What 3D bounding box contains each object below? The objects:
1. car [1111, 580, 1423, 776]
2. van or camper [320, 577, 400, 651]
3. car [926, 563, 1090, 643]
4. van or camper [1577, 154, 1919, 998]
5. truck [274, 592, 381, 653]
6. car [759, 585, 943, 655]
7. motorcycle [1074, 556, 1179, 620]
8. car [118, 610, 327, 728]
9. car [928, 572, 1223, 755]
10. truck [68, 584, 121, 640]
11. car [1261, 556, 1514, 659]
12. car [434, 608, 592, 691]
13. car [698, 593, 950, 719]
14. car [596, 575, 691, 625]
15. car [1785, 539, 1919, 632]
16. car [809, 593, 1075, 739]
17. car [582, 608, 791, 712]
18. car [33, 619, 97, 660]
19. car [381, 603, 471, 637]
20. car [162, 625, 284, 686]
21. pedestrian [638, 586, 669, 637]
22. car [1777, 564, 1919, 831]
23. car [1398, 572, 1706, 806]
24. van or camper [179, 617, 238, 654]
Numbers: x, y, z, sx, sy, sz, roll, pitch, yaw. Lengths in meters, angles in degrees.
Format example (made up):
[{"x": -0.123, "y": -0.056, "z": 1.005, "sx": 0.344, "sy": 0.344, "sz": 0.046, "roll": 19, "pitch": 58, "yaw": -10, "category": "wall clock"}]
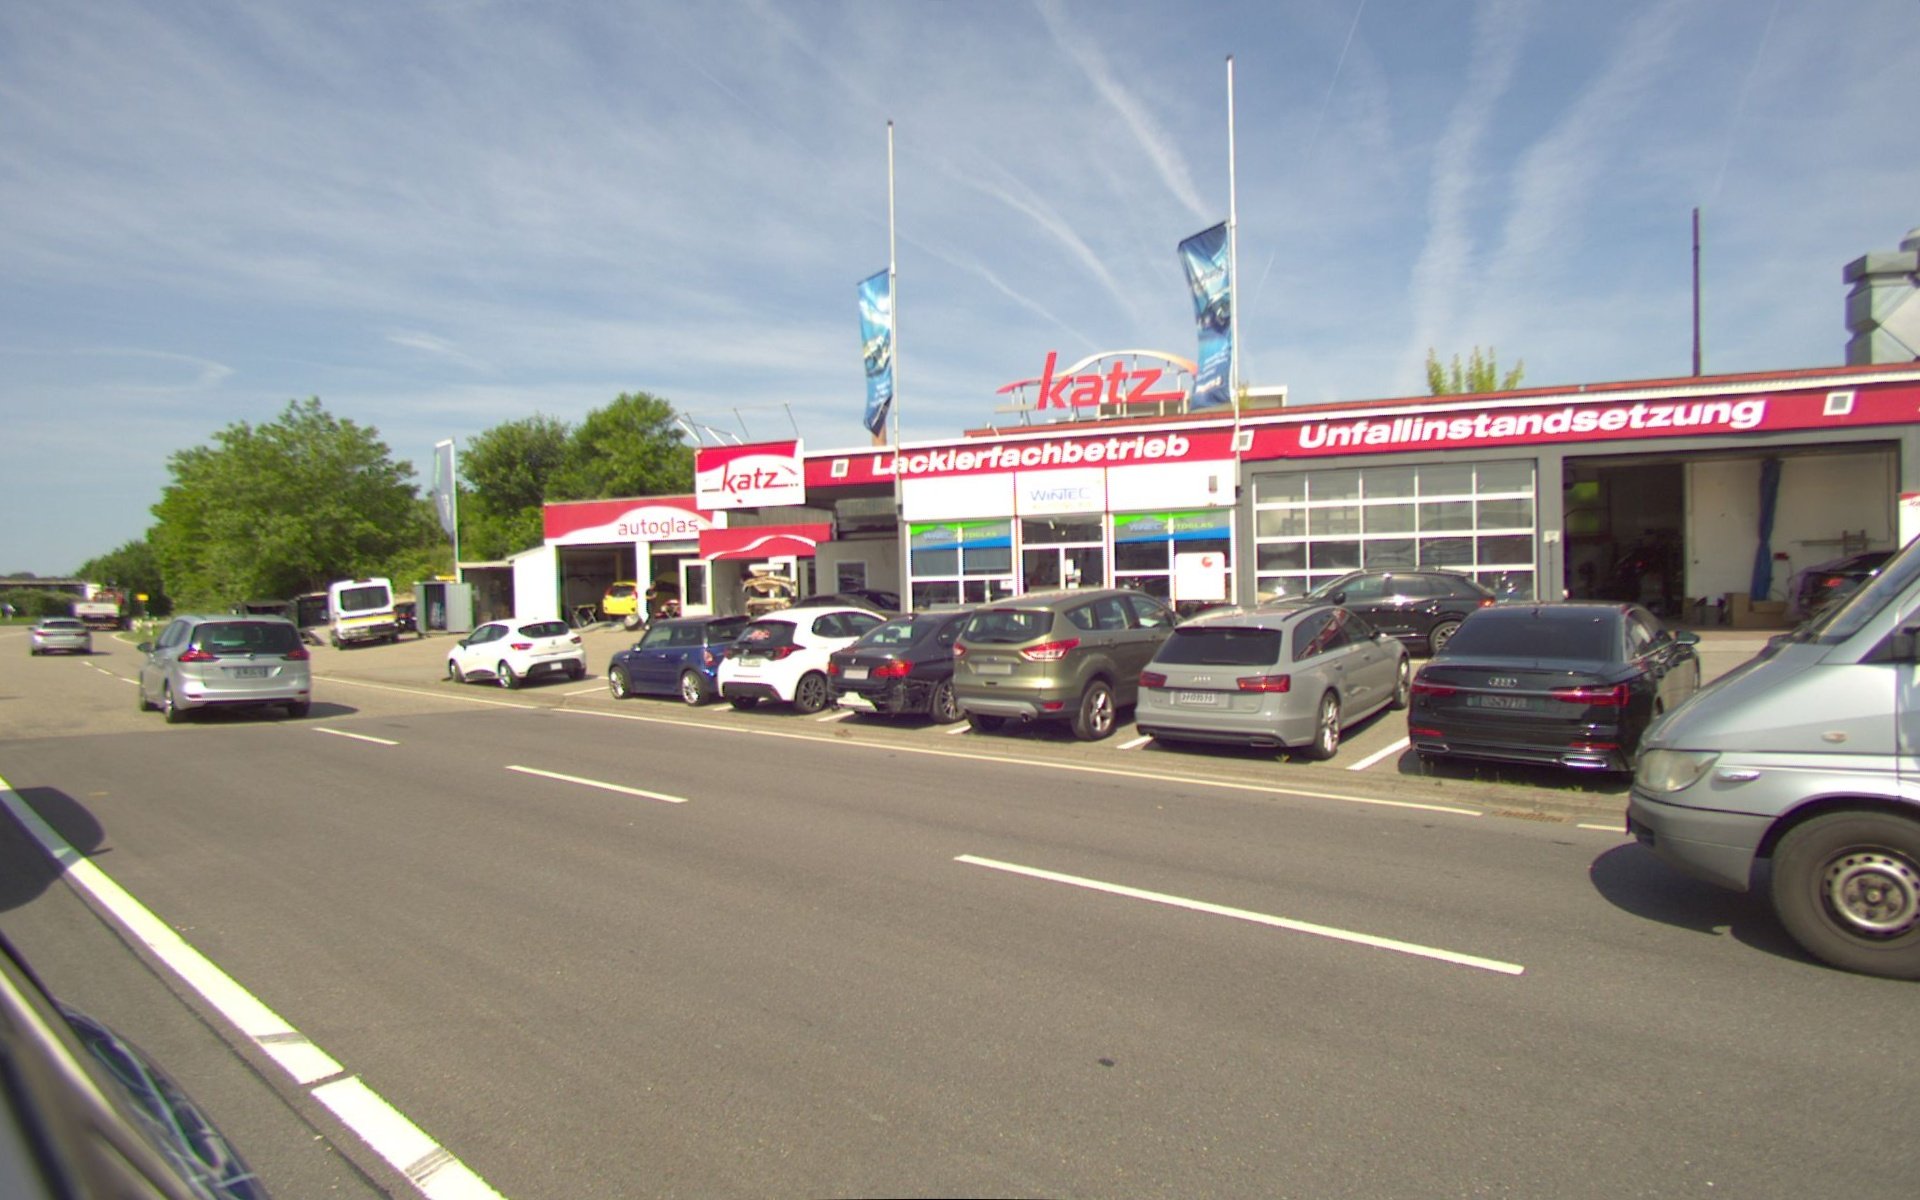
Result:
[{"x": 3.567, "y": 0.679, "z": 11.199, "sx": 1.834, "sy": 1.495, "sz": 4.237, "roll": -1, "pitch": 3, "yaw": 38, "category": "car"}, {"x": -23.493, "y": 0.514, "z": 39.516, "sx": 2.126, "sy": 2.517, "sz": 5.965, "roll": -5, "pitch": 3, "yaw": -34, "category": "van or camper"}, {"x": 1.205, "y": 0.062, "z": 25.008, "sx": 3.727, "sy": 1.772, "sz": 1.696, "roll": -1, "pitch": 3, "yaw": 16, "category": "car"}, {"x": 5.629, "y": -0.114, "z": 3.270, "sx": 5.900, "sy": 3.079, "sz": 2.184, "roll": -1, "pitch": -2, "yaw": 41, "category": "van or camper"}, {"x": -28.631, "y": 0.952, "z": 45.631, "sx": 2.304, "sy": 2.313, "sz": 8.812, "roll": -7, "pitch": 4, "yaw": -43, "category": "truck"}, {"x": -2.842, "y": 0.517, "z": 26.504, "sx": 4.361, "sy": 1.516, "sz": 1.849, "roll": -3, "pitch": 2, "yaw": 19, "category": "car"}, {"x": 3.445, "y": -0.233, "z": 20.982, "sx": 2.040, "sy": 1.271, "sz": 0.767, "roll": -1, "pitch": -1, "yaw": 21, "category": "motorcycle"}, {"x": -12.050, "y": 1.033, "z": 16.448, "sx": 4.179, "sy": 1.675, "sz": 1.889, "roll": -1, "pitch": -2, "yaw": 42, "category": "car"}, {"x": 1.588, "y": 0.644, "z": 12.745, "sx": 1.805, "sy": 1.729, "sz": 3.848, "roll": -1, "pitch": 3, "yaw": 40, "category": "car"}, {"x": -69.241, "y": 1.025, "z": 80.864, "sx": 2.920, "sy": 4.241, "sz": 10.659, "roll": 2, "pitch": -2, "yaw": -42, "category": "truck"}, {"x": 7.767, "y": 0.097, "z": 18.822, "sx": 4.090, "sy": 1.686, "sz": 1.819, "roll": 0, "pitch": 5, "yaw": 16, "category": "car"}, {"x": -10.000, "y": 1.038, "z": 22.503, "sx": 4.000, "sy": 1.630, "sz": 1.760, "roll": -1, "pitch": 0, "yaw": 43, "category": "car"}, {"x": -2.085, "y": 0.799, "z": 16.403, "sx": 1.844, "sy": 1.536, "sz": 3.760, "roll": -1, "pitch": 3, "yaw": 38, "category": "car"}, {"x": -12.439, "y": -0.032, "z": 39.981, "sx": 1.726, "sy": 1.738, "sz": 3.650, "roll": -1, "pitch": 3, "yaw": 19, "category": "car"}, {"x": 18.400, "y": -0.272, "z": 19.130, "sx": 3.997, "sy": 1.685, "sz": 1.893, "roll": -1, "pitch": -1, "yaw": 29, "category": "car"}, {"x": -0.135, "y": 0.812, "z": 14.323, "sx": 1.790, "sy": 1.536, "sz": 3.673, "roll": -1, "pitch": 3, "yaw": 38, "category": "car"}, {"x": -4.935, "y": 0.989, "z": 18.017, "sx": 3.781, "sy": 1.505, "sz": 1.761, "roll": -1, "pitch": 4, "yaw": 43, "category": "car"}, {"x": -36.556, "y": 1.580, "z": 41.307, "sx": 1.886, "sy": 1.533, "sz": 4.786, "roll": 0, "pitch": -1, "yaw": -42, "category": "car"}, {"x": -25.539, "y": 0.936, "z": 48.566, "sx": 1.725, "sy": 1.541, "sz": 3.649, "roll": -1, "pitch": 0, "yaw": 18, "category": "car"}, {"x": -19.615, "y": 1.417, "z": 26.884, "sx": 4.079, "sy": 1.459, "sz": 1.817, "roll": -1, "pitch": -1, "yaw": 42, "category": "car"}, {"x": -10.877, "y": 0.416, "z": 35.903, "sx": 0.895, "sy": 1.775, "sz": 0.714, "roll": 0, "pitch": 1, "yaw": 44, "category": "pedestrian"}, {"x": 7.683, "y": 0.570, "z": 8.039, "sx": 1.770, "sy": 1.495, "sz": 4.417, "roll": -1, "pitch": 3, "yaw": 38, "category": "car"}, {"x": 5.784, "y": 0.624, "z": 9.611, "sx": 1.797, "sy": 1.495, "sz": 4.256, "roll": -1, "pitch": 3, "yaw": 40, "category": "car"}, {"x": -35.097, "y": 1.617, "z": 47.228, "sx": 1.620, "sy": 1.535, "sz": 4.471, "roll": -2, "pitch": 1, "yaw": -44, "category": "van or camper"}]
